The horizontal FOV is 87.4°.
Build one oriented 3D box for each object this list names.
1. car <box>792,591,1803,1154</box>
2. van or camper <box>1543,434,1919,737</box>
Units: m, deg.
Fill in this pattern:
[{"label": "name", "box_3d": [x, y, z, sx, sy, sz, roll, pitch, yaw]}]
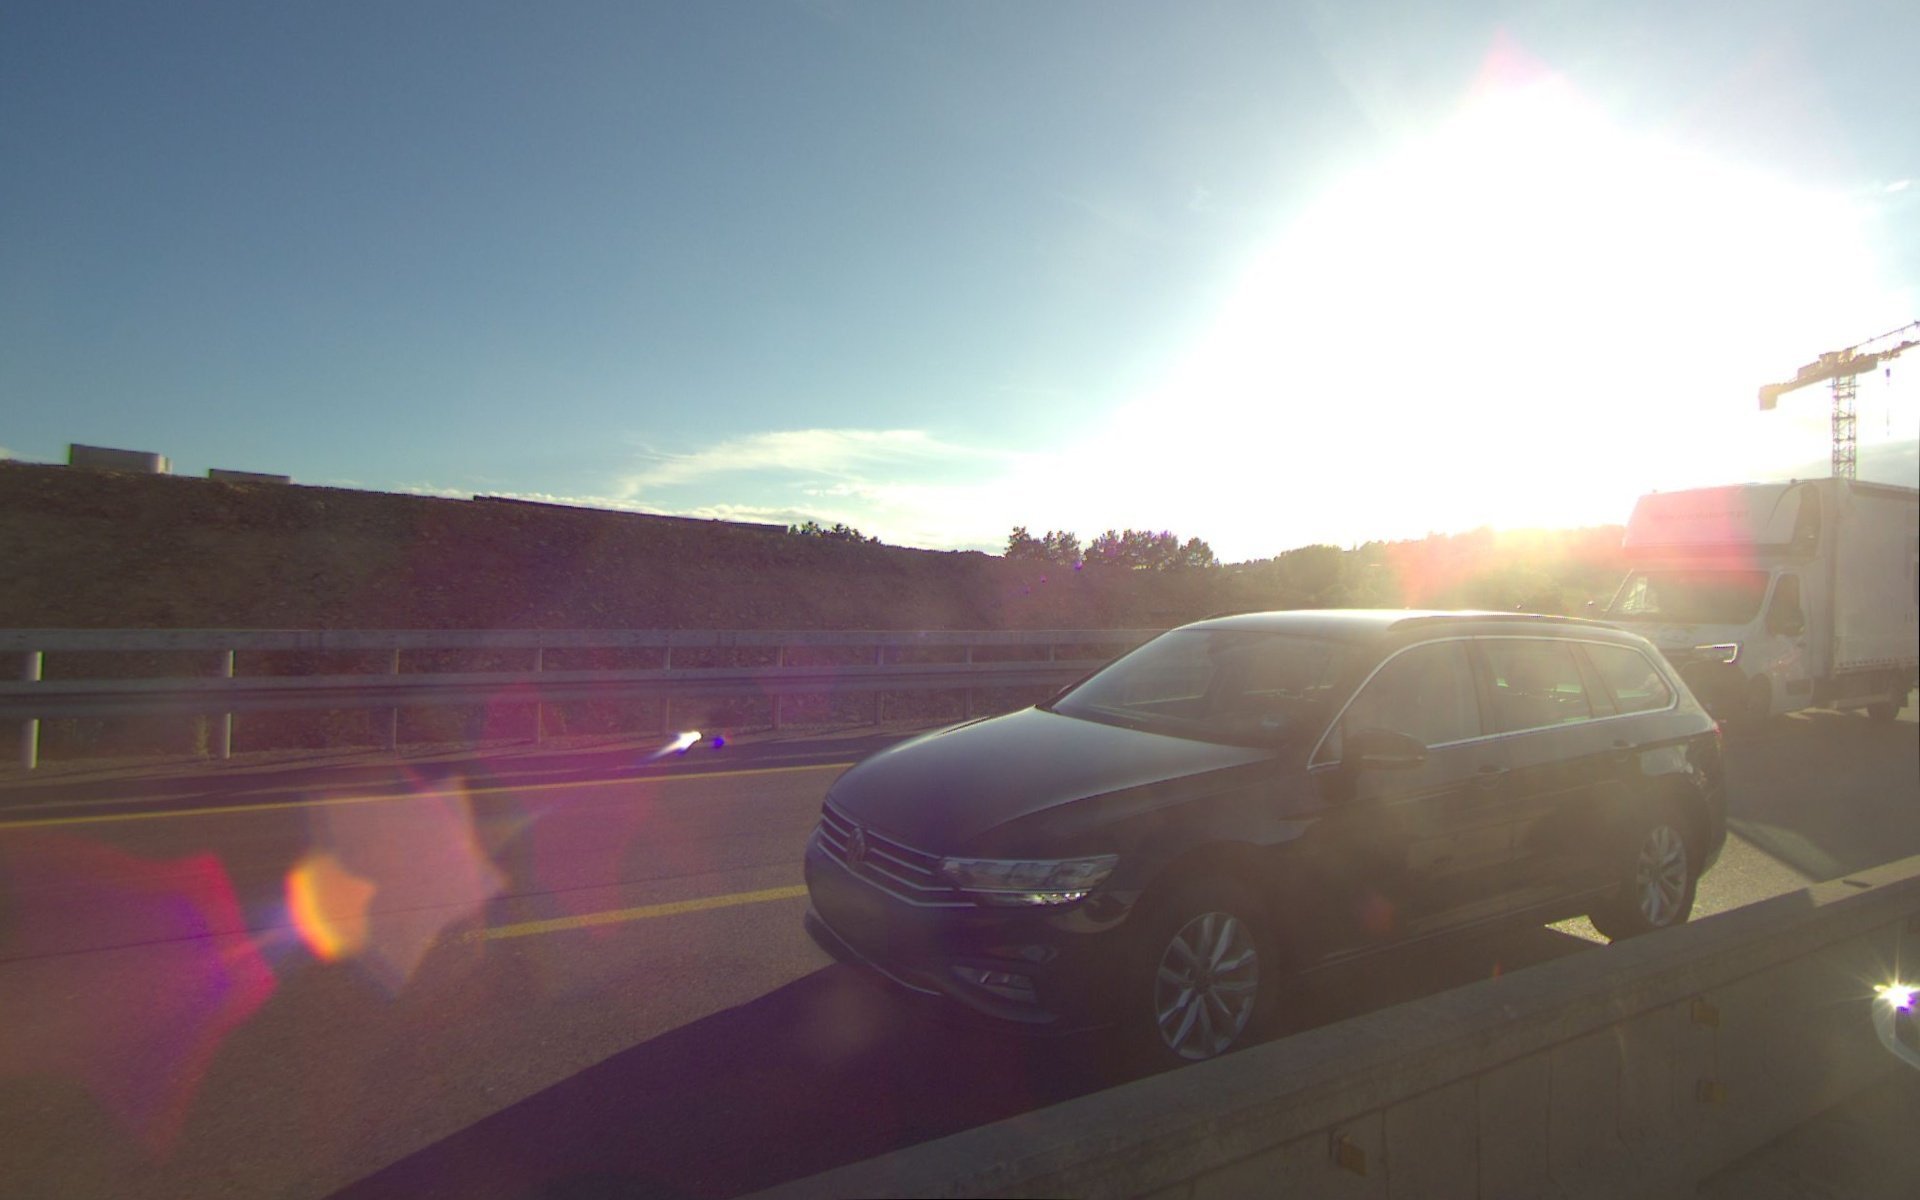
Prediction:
[{"label": "car", "box_3d": [1.751, 0.755, 4.617, 4.650, 1.482, 1.807, 1, 0, -30]}, {"label": "van or camper", "box_3d": [11.826, -0.109, 14.662, 7.327, 3.545, 2.446, 1, 0, -31]}]
